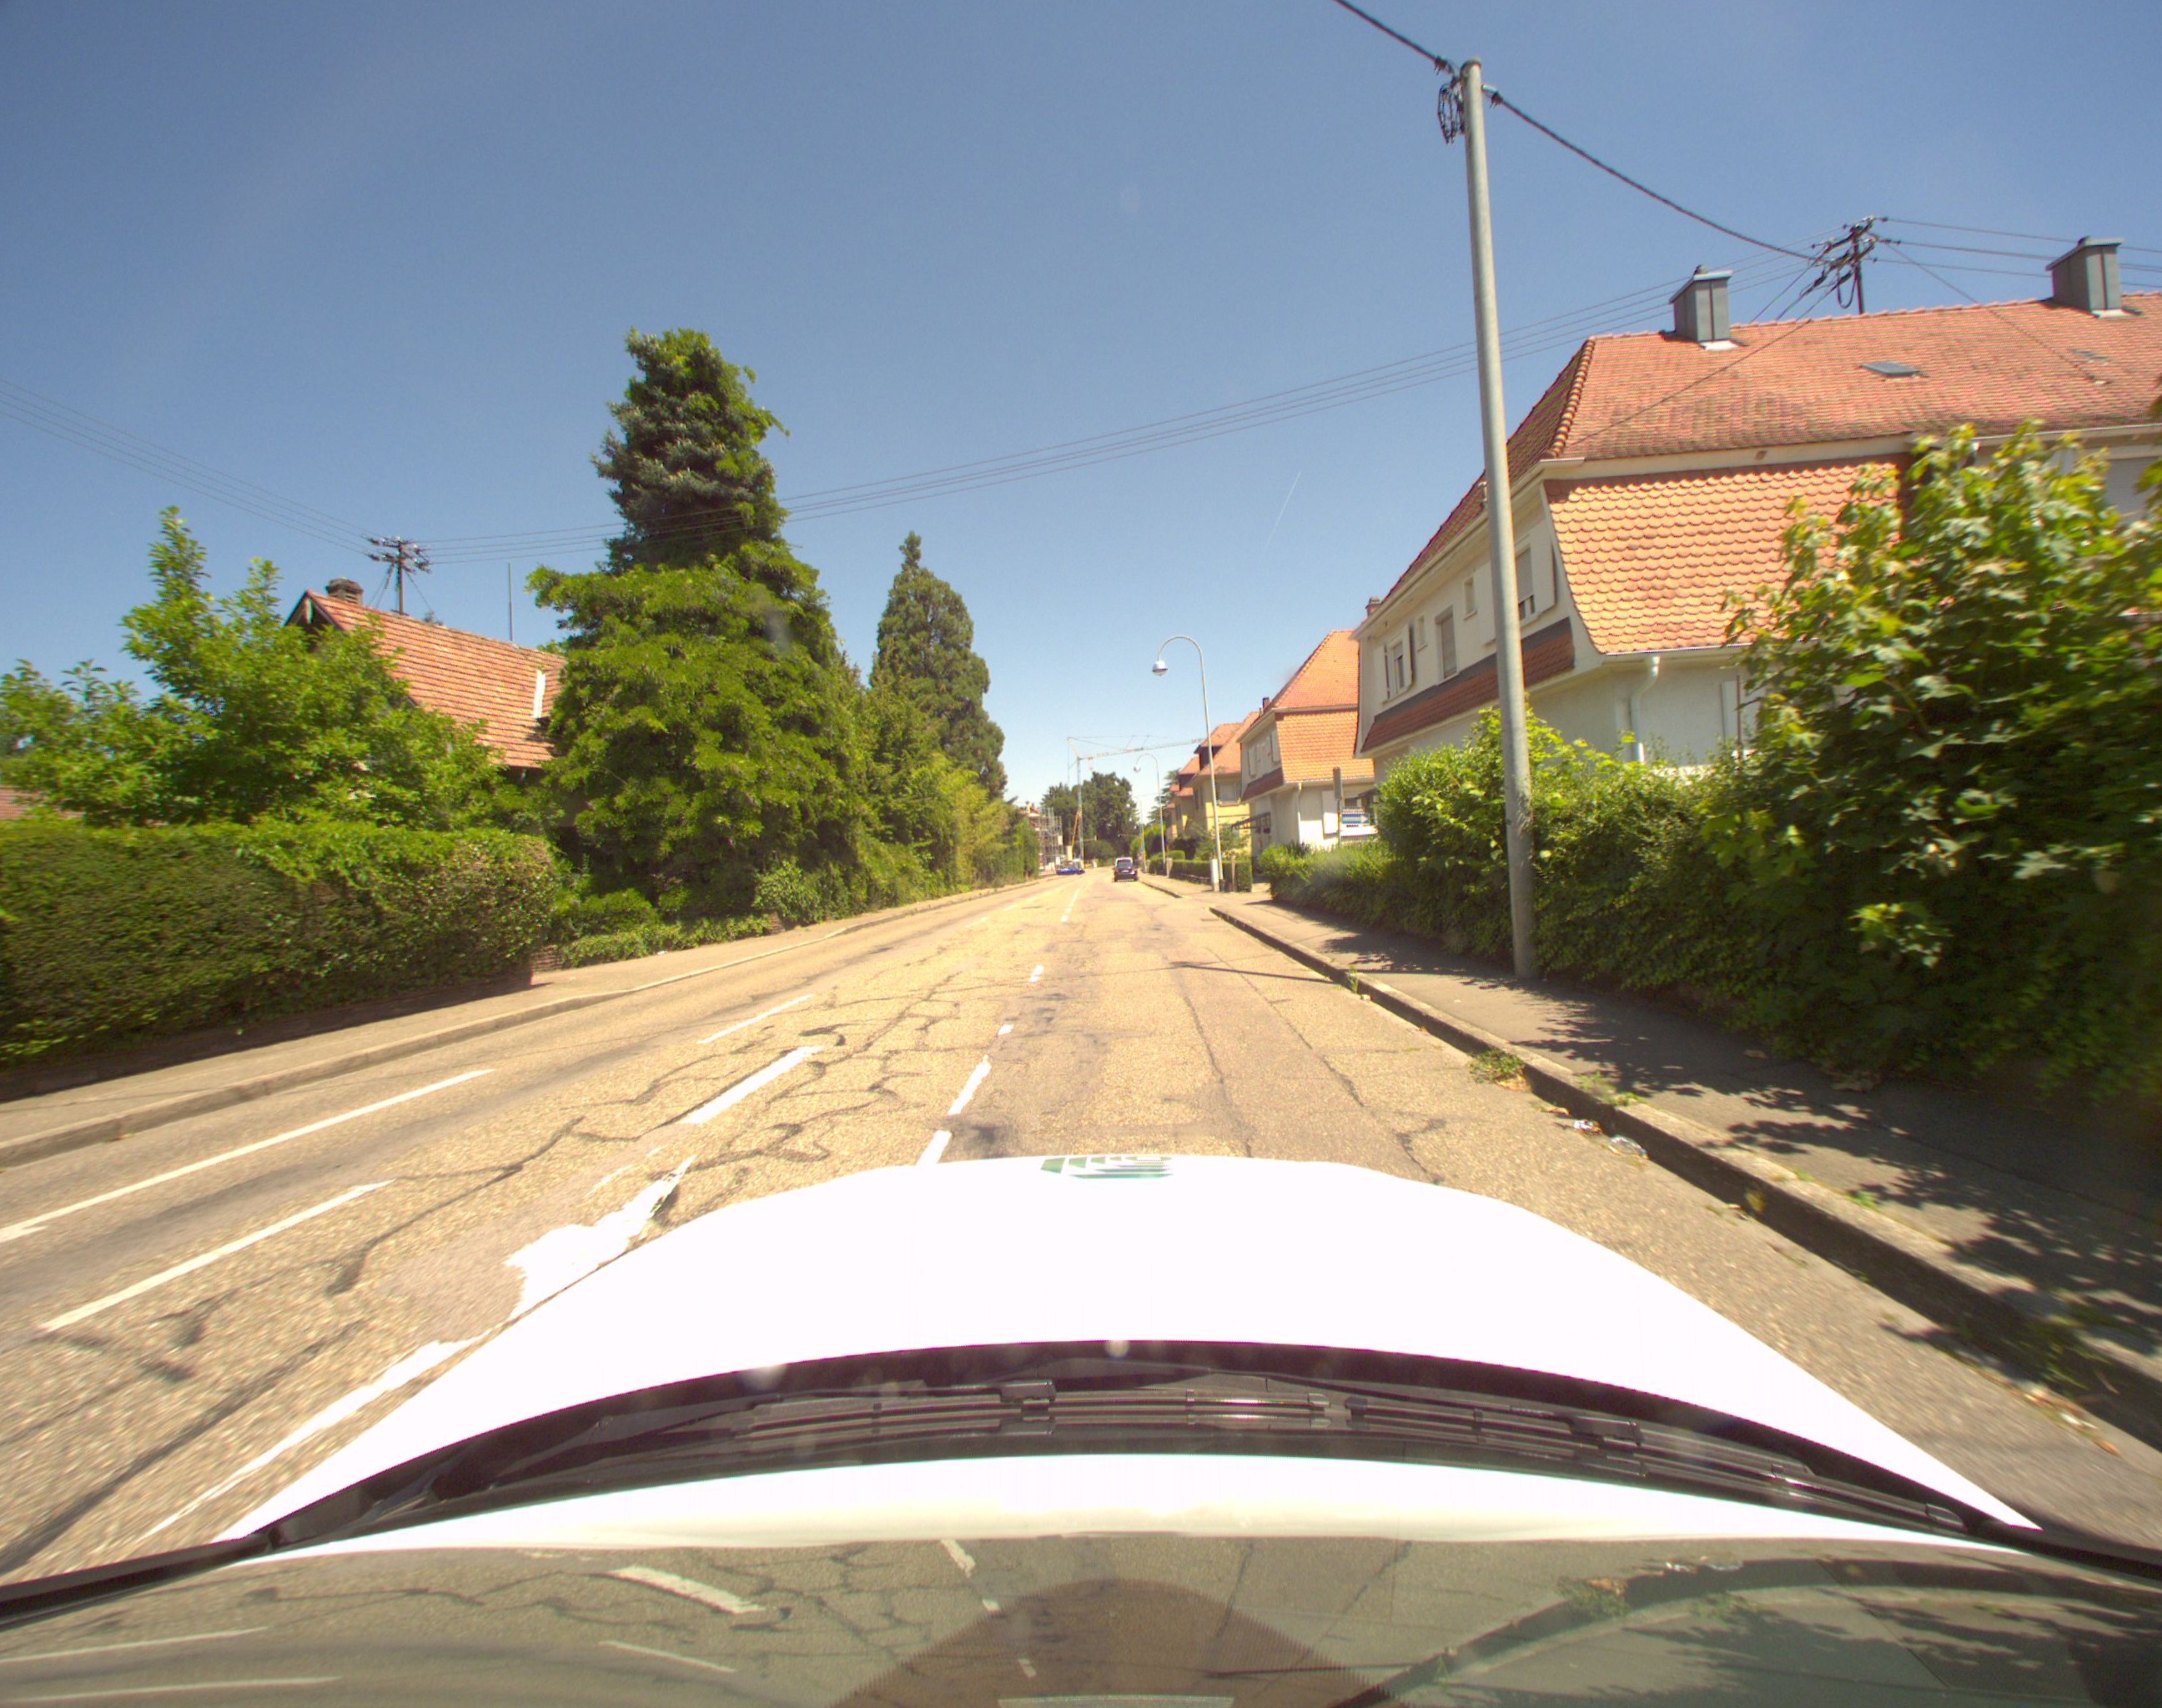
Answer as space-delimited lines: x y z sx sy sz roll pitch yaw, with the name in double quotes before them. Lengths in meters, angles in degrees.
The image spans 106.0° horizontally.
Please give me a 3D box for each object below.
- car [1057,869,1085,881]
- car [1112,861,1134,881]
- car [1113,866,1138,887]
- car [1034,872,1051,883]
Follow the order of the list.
"car" -1.550 3.181 126.074 3.983 1.468 1.960 -6 0 -7
"car" 4.097 1.675 80.011 1.986 1.901 4.824 -1 -1 2
"car" 3.250 1.656 60.137 1.686 1.419 4.552 -3 -2 2
"car" -5.399 3.293 113.866 1.650 1.389 3.543 -4 -1 8
